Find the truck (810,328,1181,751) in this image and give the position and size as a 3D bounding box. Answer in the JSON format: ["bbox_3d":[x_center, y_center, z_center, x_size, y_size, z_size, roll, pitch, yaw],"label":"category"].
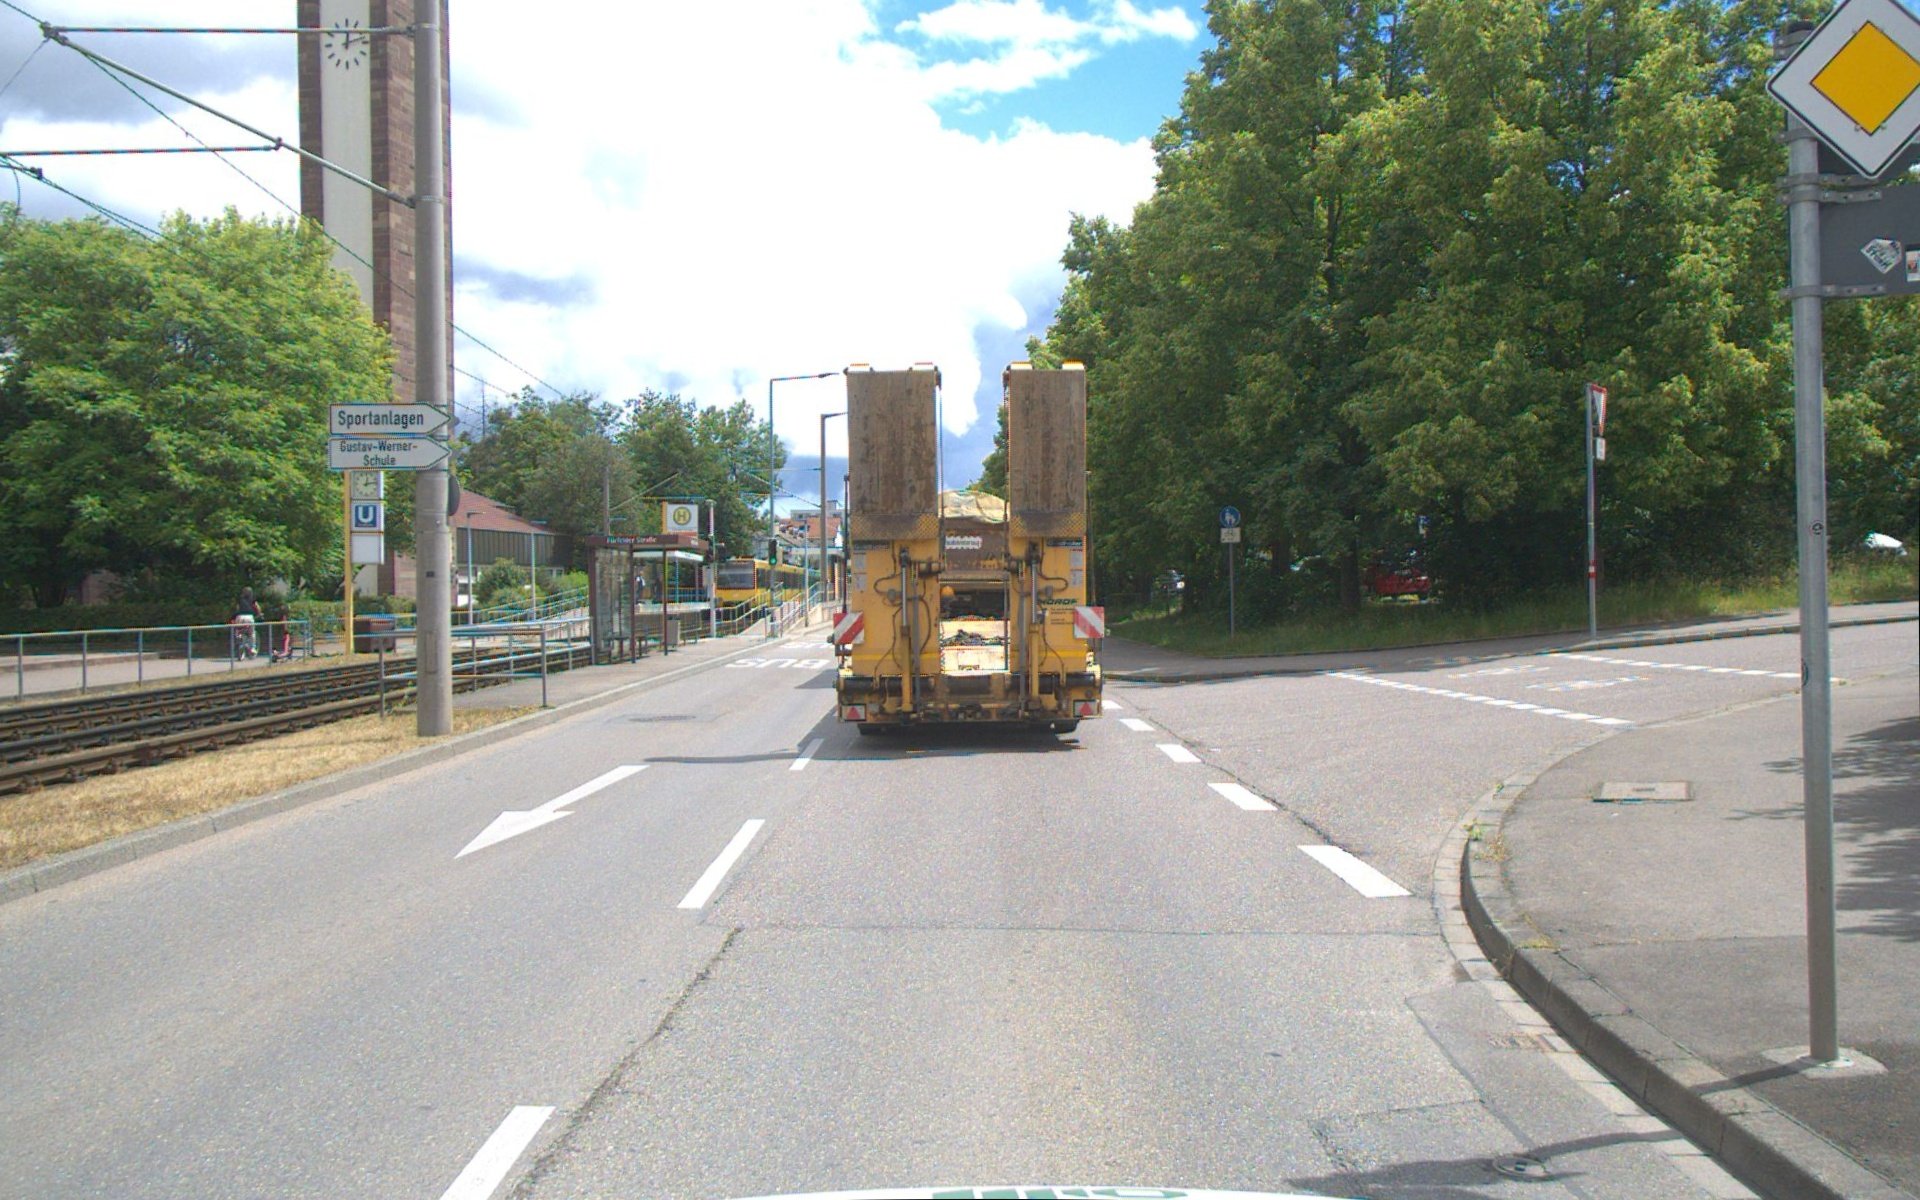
[{"bbox_3d":[-0.070,-0.584,21.805,3.335,3.797,13.729,-1,0,-3],"label":"truck"}]

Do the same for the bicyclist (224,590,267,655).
[{"bbox_3d":[-16.295,0.506,37.710,0.620,1.454,0.790,1,0,-1],"label":"bicyclist"}]

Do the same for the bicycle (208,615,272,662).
[{"bbox_3d":[-16.278,0.857,37.456,0.624,1.011,1.928,1,0,-1],"label":"bicycle"}]

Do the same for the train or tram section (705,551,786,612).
[{"bbox_3d":[-13.569,-1.100,106.310,3.045,3.525,18.821,1,0,-1],"label":"train or tram section"}]

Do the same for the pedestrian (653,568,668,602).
[{"bbox_3d":[-15.548,-0.779,85.770,0.626,1.737,0.645,1,0,-1],"label":"pedestrian"}]

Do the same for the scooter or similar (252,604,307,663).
[{"bbox_3d":[-15.287,0.733,37.184,0.636,1.258,1.401,1,1,-1],"label":"scooter or similar"}]

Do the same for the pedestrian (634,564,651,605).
[{"bbox_3d":[-16.182,-0.779,84.253,0.698,2.049,0.731,1,0,-3],"label":"pedestrian"}]

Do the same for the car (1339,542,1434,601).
[{"bbox_3d":[12.186,-0.788,47.451,1.627,1.526,3.662,-3,0,-1],"label":"car"}]
